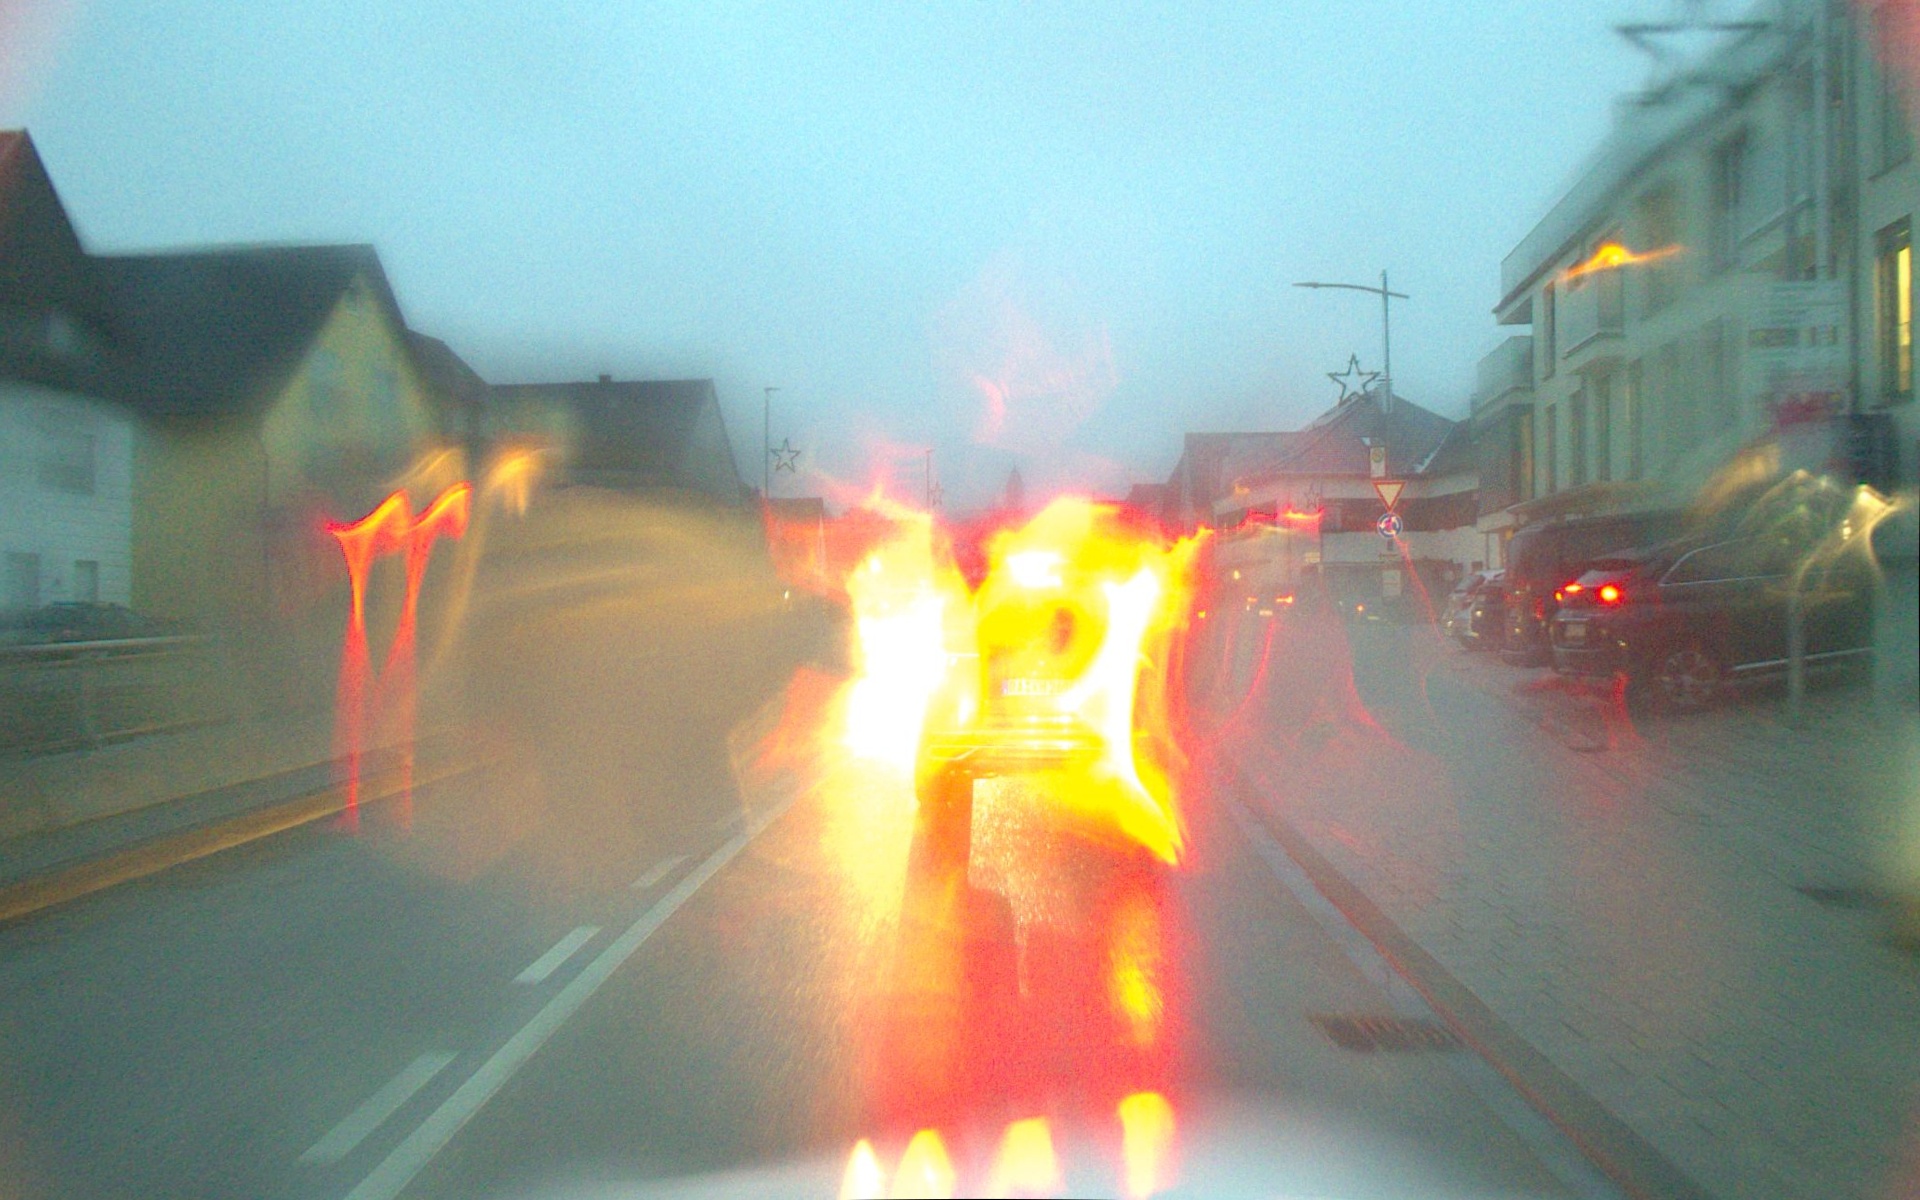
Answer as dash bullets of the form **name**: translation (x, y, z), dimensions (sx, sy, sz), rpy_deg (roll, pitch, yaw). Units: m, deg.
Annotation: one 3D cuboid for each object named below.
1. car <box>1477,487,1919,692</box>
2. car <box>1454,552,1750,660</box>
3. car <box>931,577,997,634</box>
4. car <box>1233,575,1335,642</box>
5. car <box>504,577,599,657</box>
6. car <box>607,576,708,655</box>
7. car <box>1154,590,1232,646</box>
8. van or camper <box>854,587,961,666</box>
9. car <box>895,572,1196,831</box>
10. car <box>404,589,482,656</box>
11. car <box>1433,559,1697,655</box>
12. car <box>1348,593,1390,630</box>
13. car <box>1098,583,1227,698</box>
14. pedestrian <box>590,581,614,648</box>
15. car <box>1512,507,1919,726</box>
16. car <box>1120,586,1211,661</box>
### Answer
- **car**: translation (8.984, -0.102, 20.479), dimensions (4.468, 1.953, 1.951), rpy_deg (-6, -1, 6)
- **car**: translation (10.481, 0.096, 27.218), dimensions (4.118, 1.485, 1.793), rpy_deg (-3, 0, 1)
- **car**: translation (0.170, 0.138, 51.319), dimensions (1.700, 1.682, 4.003), rpy_deg (-1, 1, 5)
- **car**: translation (11.039, 0.249, 56.107), dimensions (2.116, 2.026, 4.494), rpy_deg (-4, 0, 27)
- **car**: translation (-10.707, 0.400, 43.153), dimensions (2.007, 1.959, 4.033), rpy_deg (-1, 0, -20)
- **car**: translation (-8.075, 0.381, 43.886), dimensions (2.007, 1.959, 4.033), rpy_deg (-1, 0, -20)
- **car**: translation (6.195, 0.442, 44.348), dimensions (1.951, 1.416, 4.003), rpy_deg (0, 0, 7)
- **van or camper**: translation (-0.941, 0.463, 31.242), dimensions (1.529, 1.379, 3.424), rpy_deg (-1, 0, 6)
- **car**: translation (0.823, 0.627, 12.827), dimensions (1.922, 1.622, 4.317), rpy_deg (1, 1, 7)
- **car**: translation (-13.561, 0.556, 43.303), dimensions (1.794, 1.641, 4.033), rpy_deg (-1, 0, -20)
- **car**: translation (11.012, 0.135, 30.302), dimensions (4.118, 1.485, 1.793), rpy_deg (-3, 0, 1)
- **car**: translation (17.561, 0.491, 71.089), dimensions (1.532, 1.437, 3.604), rpy_deg (-4, -1, 12)
- **car**: translation (2.873, 0.519, 23.336), dimensions (1.646, 1.478, 4.003), rpy_deg (0, 0, 8)
- **pedestrian**: translation (-9.370, 0.375, 43.300), dimensions (0.488, 1.731, 0.709), rpy_deg (-2, 0, -20)
- **car**: translation (8.052, 0.117, 16.881), dimensions (4.093, 1.666, 1.804), rpy_deg (-7, 0, -1)
- **car**: translation (4.299, 0.441, 34.880), dimensions (1.776, 1.436, 4.003), rpy_deg (1, 1, 6)
